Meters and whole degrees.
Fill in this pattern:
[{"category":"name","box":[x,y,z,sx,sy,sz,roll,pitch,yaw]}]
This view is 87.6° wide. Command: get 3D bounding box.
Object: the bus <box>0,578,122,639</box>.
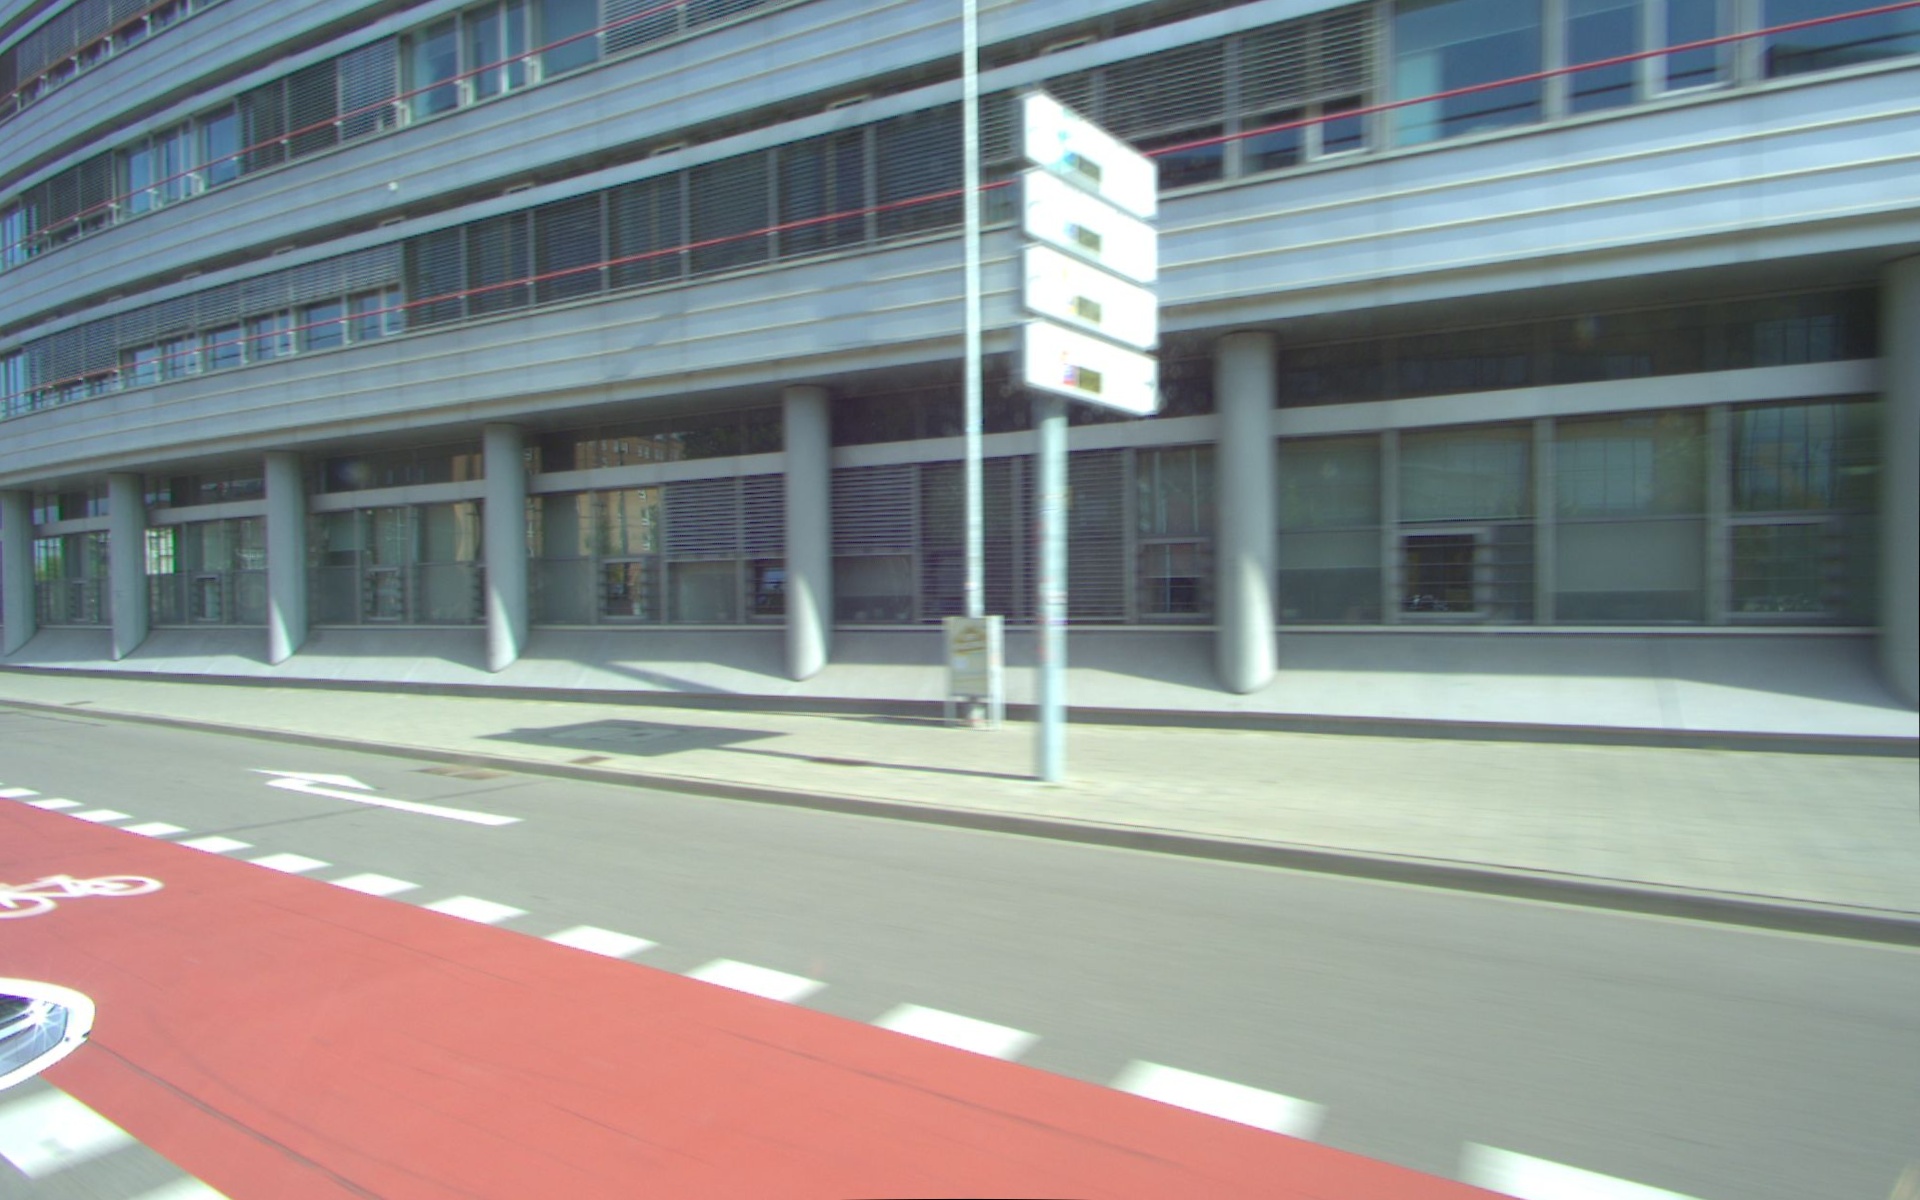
[{"category":"bus","box":[-62.780,0.581,62.020,2.815,3.860,17.630,-2,-1,20]}]
